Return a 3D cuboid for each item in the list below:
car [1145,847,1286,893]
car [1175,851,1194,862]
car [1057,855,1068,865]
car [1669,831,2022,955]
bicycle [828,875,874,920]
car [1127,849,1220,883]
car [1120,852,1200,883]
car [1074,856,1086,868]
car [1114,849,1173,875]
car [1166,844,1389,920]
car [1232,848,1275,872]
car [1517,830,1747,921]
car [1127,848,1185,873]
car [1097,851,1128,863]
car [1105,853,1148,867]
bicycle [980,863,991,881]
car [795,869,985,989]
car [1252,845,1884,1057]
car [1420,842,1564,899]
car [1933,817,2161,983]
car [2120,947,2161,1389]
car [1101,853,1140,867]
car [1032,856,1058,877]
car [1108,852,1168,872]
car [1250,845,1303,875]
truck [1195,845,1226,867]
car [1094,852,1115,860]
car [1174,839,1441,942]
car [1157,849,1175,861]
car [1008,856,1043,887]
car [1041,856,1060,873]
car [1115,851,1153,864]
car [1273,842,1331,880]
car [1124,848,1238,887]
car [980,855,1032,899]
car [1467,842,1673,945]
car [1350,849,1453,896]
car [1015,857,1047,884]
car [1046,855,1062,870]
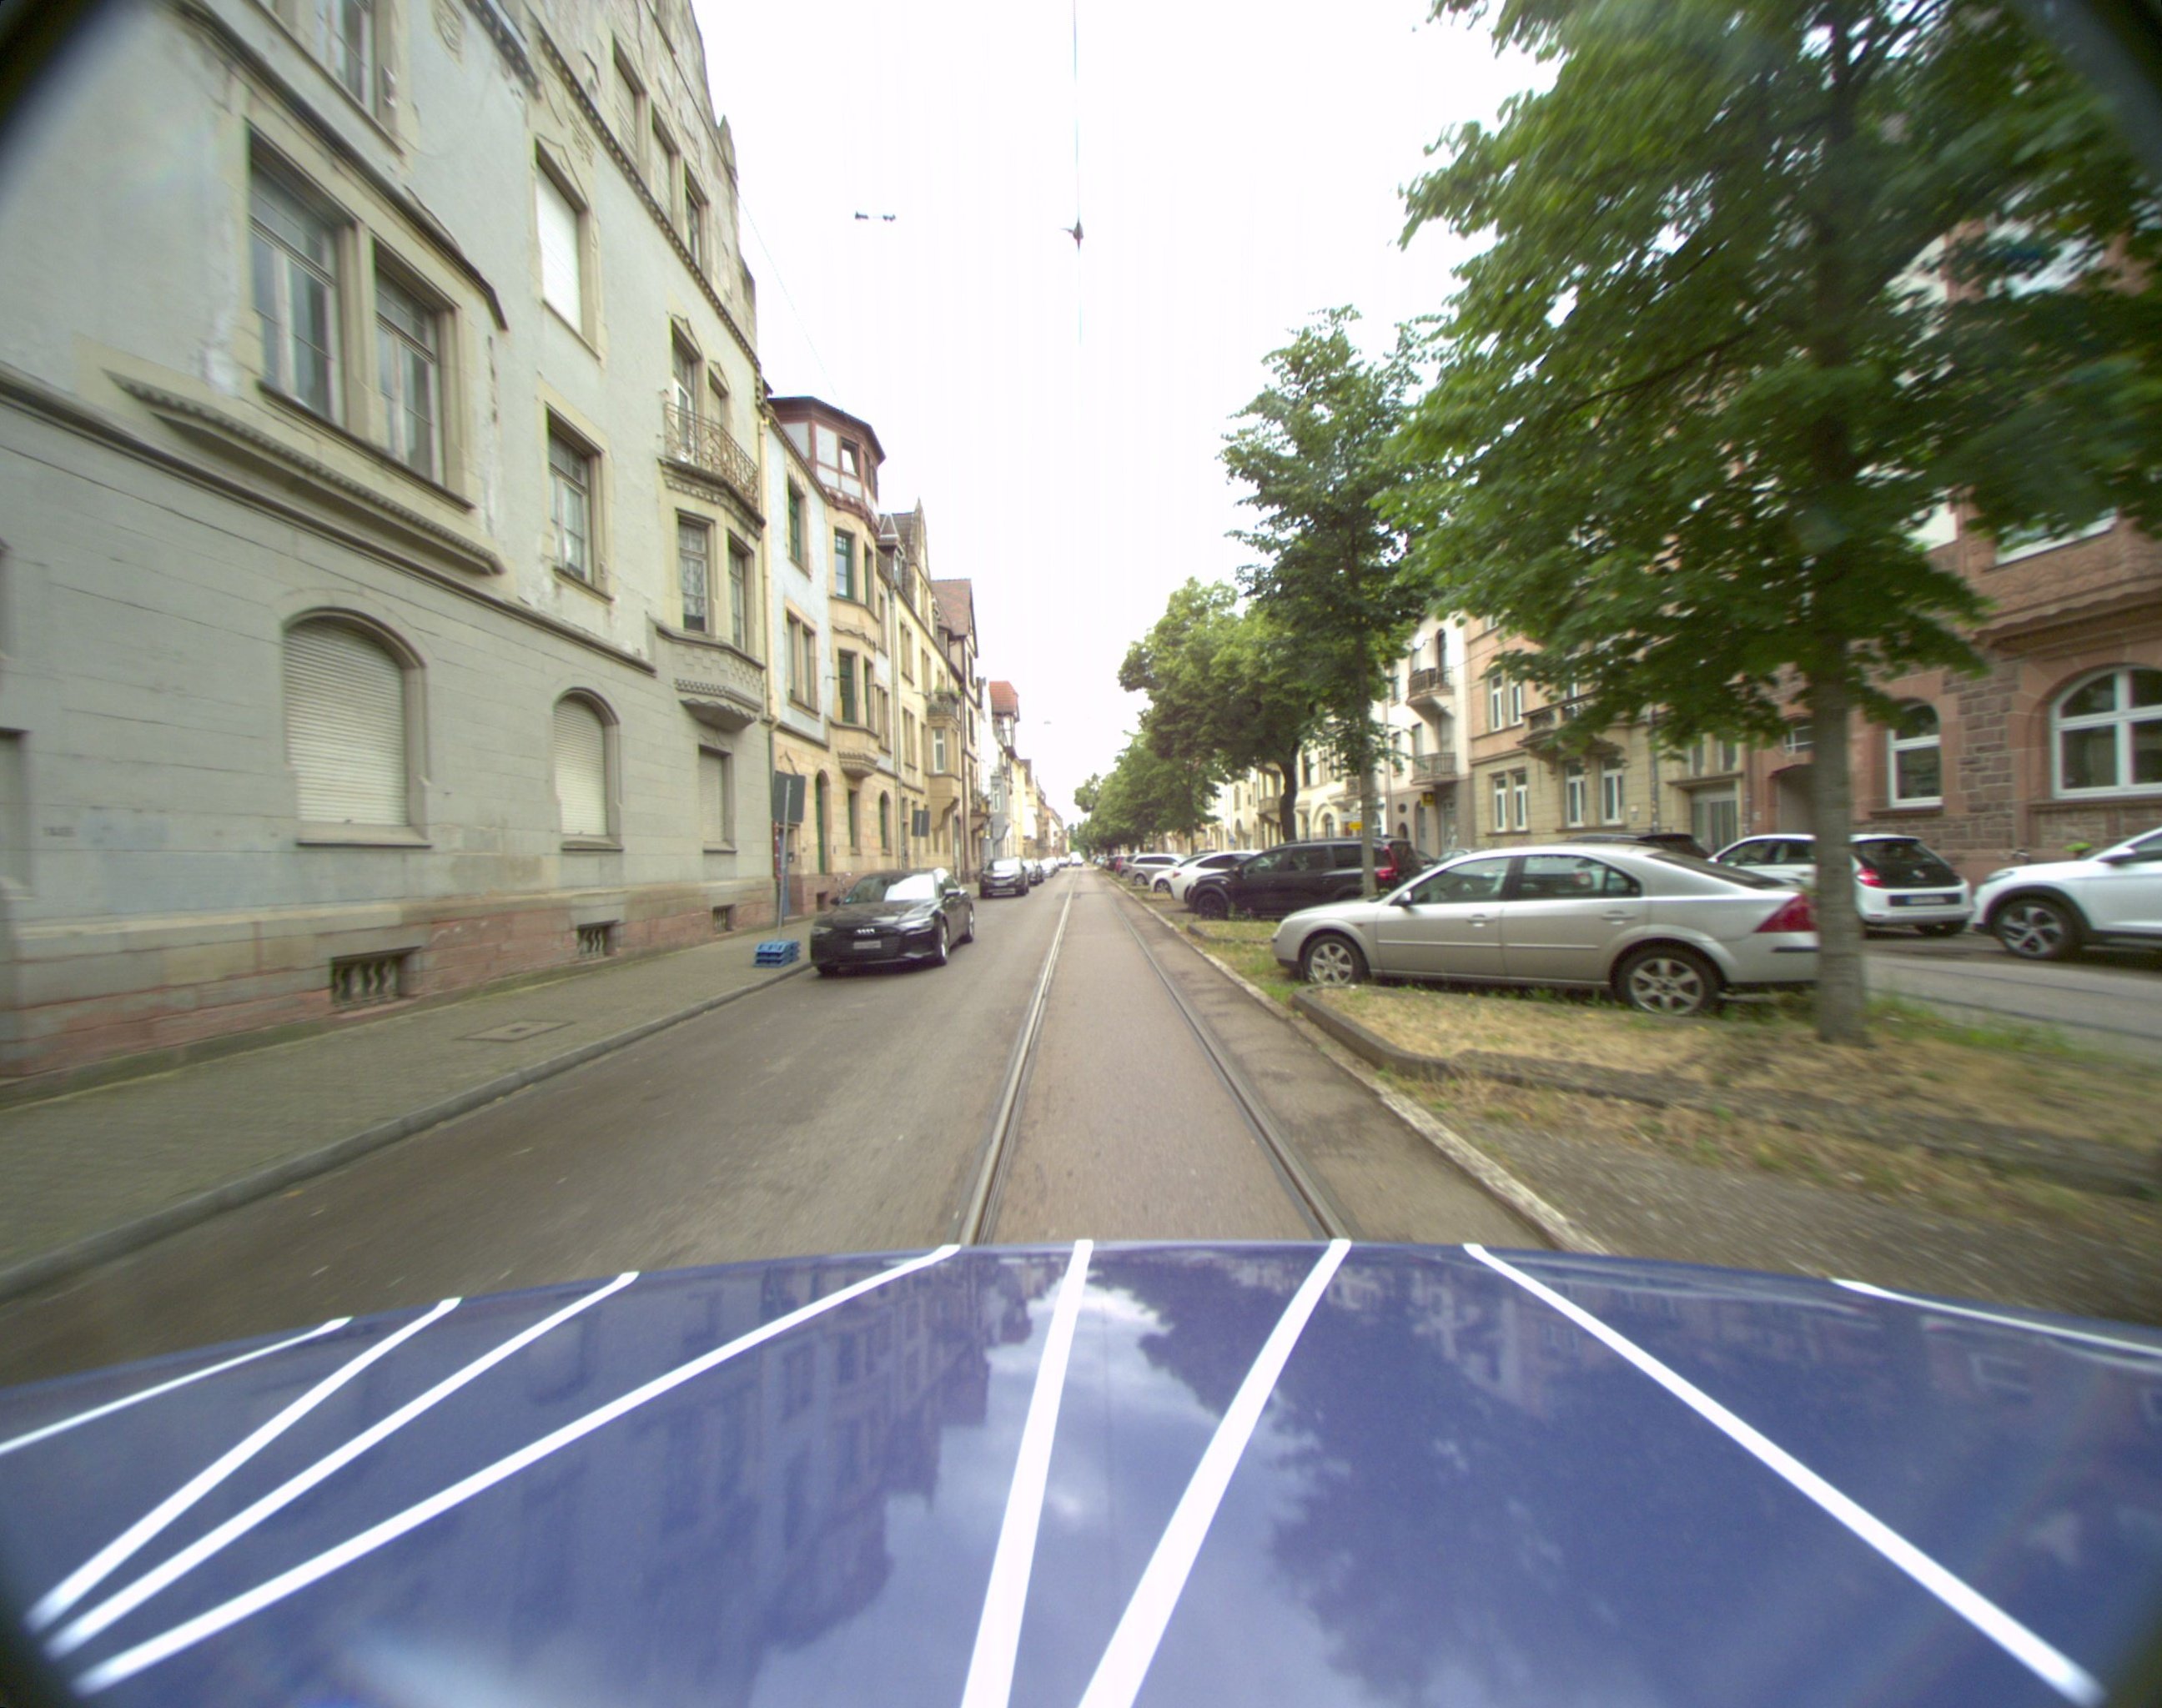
[{"bbox_3d":[4.333,0.551,24.832,4.119,1.304,1.867,-3,0,43],"label":"car"},{"bbox_3d":[12.098,0.264,89.173,1.639,1.169,3.380,-2,0,-2],"label":"car"},{"bbox_3d":[-2.905,0.946,121.619,1.676,1.519,4.212,-3,1,0],"label":"car"},{"bbox_3d":[11.344,0.487,11.702,1.666,1.550,3.722,-2,1,0],"label":"car"},{"bbox_3d":[-6.370,1.184,21.165,0.612,1.120,1.916,-5,0,0],"label":"bicycle"},{"bbox_3d":[4.249,0.577,35.339,1.779,1.476,3.989,-3,0,-45],"label":"car"},{"bbox_3d":[4.374,0.745,42.565,4.195,1.600,1.728,-1,2,41],"label":"car"},{"bbox_3d":[-0.150,1.367,130.307,1.998,2.002,3.999,-2,1,0],"label":"car"},{"bbox_3d":[4.329,0.583,52.834,1.678,1.518,3.803,-4,0,-45],"label":"car"},{"bbox_3d":[4.425,0.601,17.593,4.529,1.482,2.040,-2,1,44],"label":"car"},{"bbox_3d":[11.909,0.421,52.772,1.856,1.513,4.194,-2,0,-2],"label":"car"},{"bbox_3d":[11.531,0.383,16.358,1.773,1.619,4.320,-2,1,0],"label":"car"},{"bbox_3d":[4.859,0.447,49.384,3.418,1.518,1.693,-1,2,43],"label":"car"},{"bbox_3d":[4.508,0.504,109.783,3.989,1.602,1.902,-2,-1,31],"label":"car"},{"bbox_3d":[4.661,0.628,78.071,3.989,1.407,1.902,-2,-1,39],"label":"car"},{"bbox_3d":[-6.072,1.118,48.259,0.422,1.091,1.588,3,0,0],"label":"bicycle"},{"bbox_3d":[-2.865,1.049,12.700,1.805,1.429,5.195,-2,0,0],"label":"car"},{"bbox_3d":[4.169,0.702,7.236,4.655,1.360,1.761,-2,0,43],"label":"car"},{"bbox_3d":[11.642,0.414,21.899,1.809,1.430,4.229,-2,1,0],"label":"car"},{"bbox_3d":[11.456,0.431,7.146,1.745,1.617,4.553,-2,1,0],"label":"car"},{"bbox_3d":[4.027,0.849,0.344,3.952,1.195,1.671,-2,0,44],"label":"car"},{"bbox_3d":[4.411,0.675,85.041,3.989,1.407,1.902,-2,-1,39],"label":"car"},{"bbox_3d":[-3.017,1.033,64.672,1.793,1.504,4.213,-5,0,1],"label":"car"},{"bbox_3d":[4.479,0.643,60.403,1.889,1.458,4.595,-3,0,-44],"label":"car"},{"bbox_3d":[11.836,0.338,46.275,1.856,1.650,4.492,-2,0,-2],"label":"car"},{"bbox_3d":[11.993,0.194,70.680,2.150,1.845,6.065,-2,0,4],"label":"truck"},{"bbox_3d":[5.078,0.359,161.715,3.991,1.602,1.901,-2,-1,21],"label":"car"},{"bbox_3d":[4.159,0.631,14.474,4.520,1.624,1.769,-2,1,44],"label":"car"},{"bbox_3d":[12.012,0.125,107.523,1.796,1.596,4.512,-2,0,-2],"label":"car"},{"bbox_3d":[-3.126,0.962,43.650,1.702,1.504,4.419,-5,0,-1],"label":"car"},{"bbox_3d":[-3.015,1.006,76.093,1.635,1.478,4.213,-5,0,0],"label":"car"},{"bbox_3d":[6.266,0.416,89.602,3.991,1.407,1.901,-2,-1,21],"label":"car"},{"bbox_3d":[11.819,0.344,40.989,1.855,1.859,4.431,-2,0,1],"label":"car"},{"bbox_3d":[4.188,0.604,32.297,1.867,1.484,4.553,-3,1,-44],"label":"car"},{"bbox_3d":[-3.064,0.893,31.792,1.764,1.612,4.694,-2,0,-1],"label":"car"},{"bbox_3d":[8.160,0.593,12.973,1.608,1.506,2.892,-2,1,0],"label":"car"},{"bbox_3d":[11.414,0.604,27.422,1.809,1.481,4.386,-2,1,0],"label":"car"},{"bbox_3d":[-3.143,1.010,48.676,1.702,1.504,4.391,-5,0,-1],"label":"car"},{"bbox_3d":[-3.015,0.913,86.156,1.635,1.519,4.212,-3,1,0],"label":"car"}]
